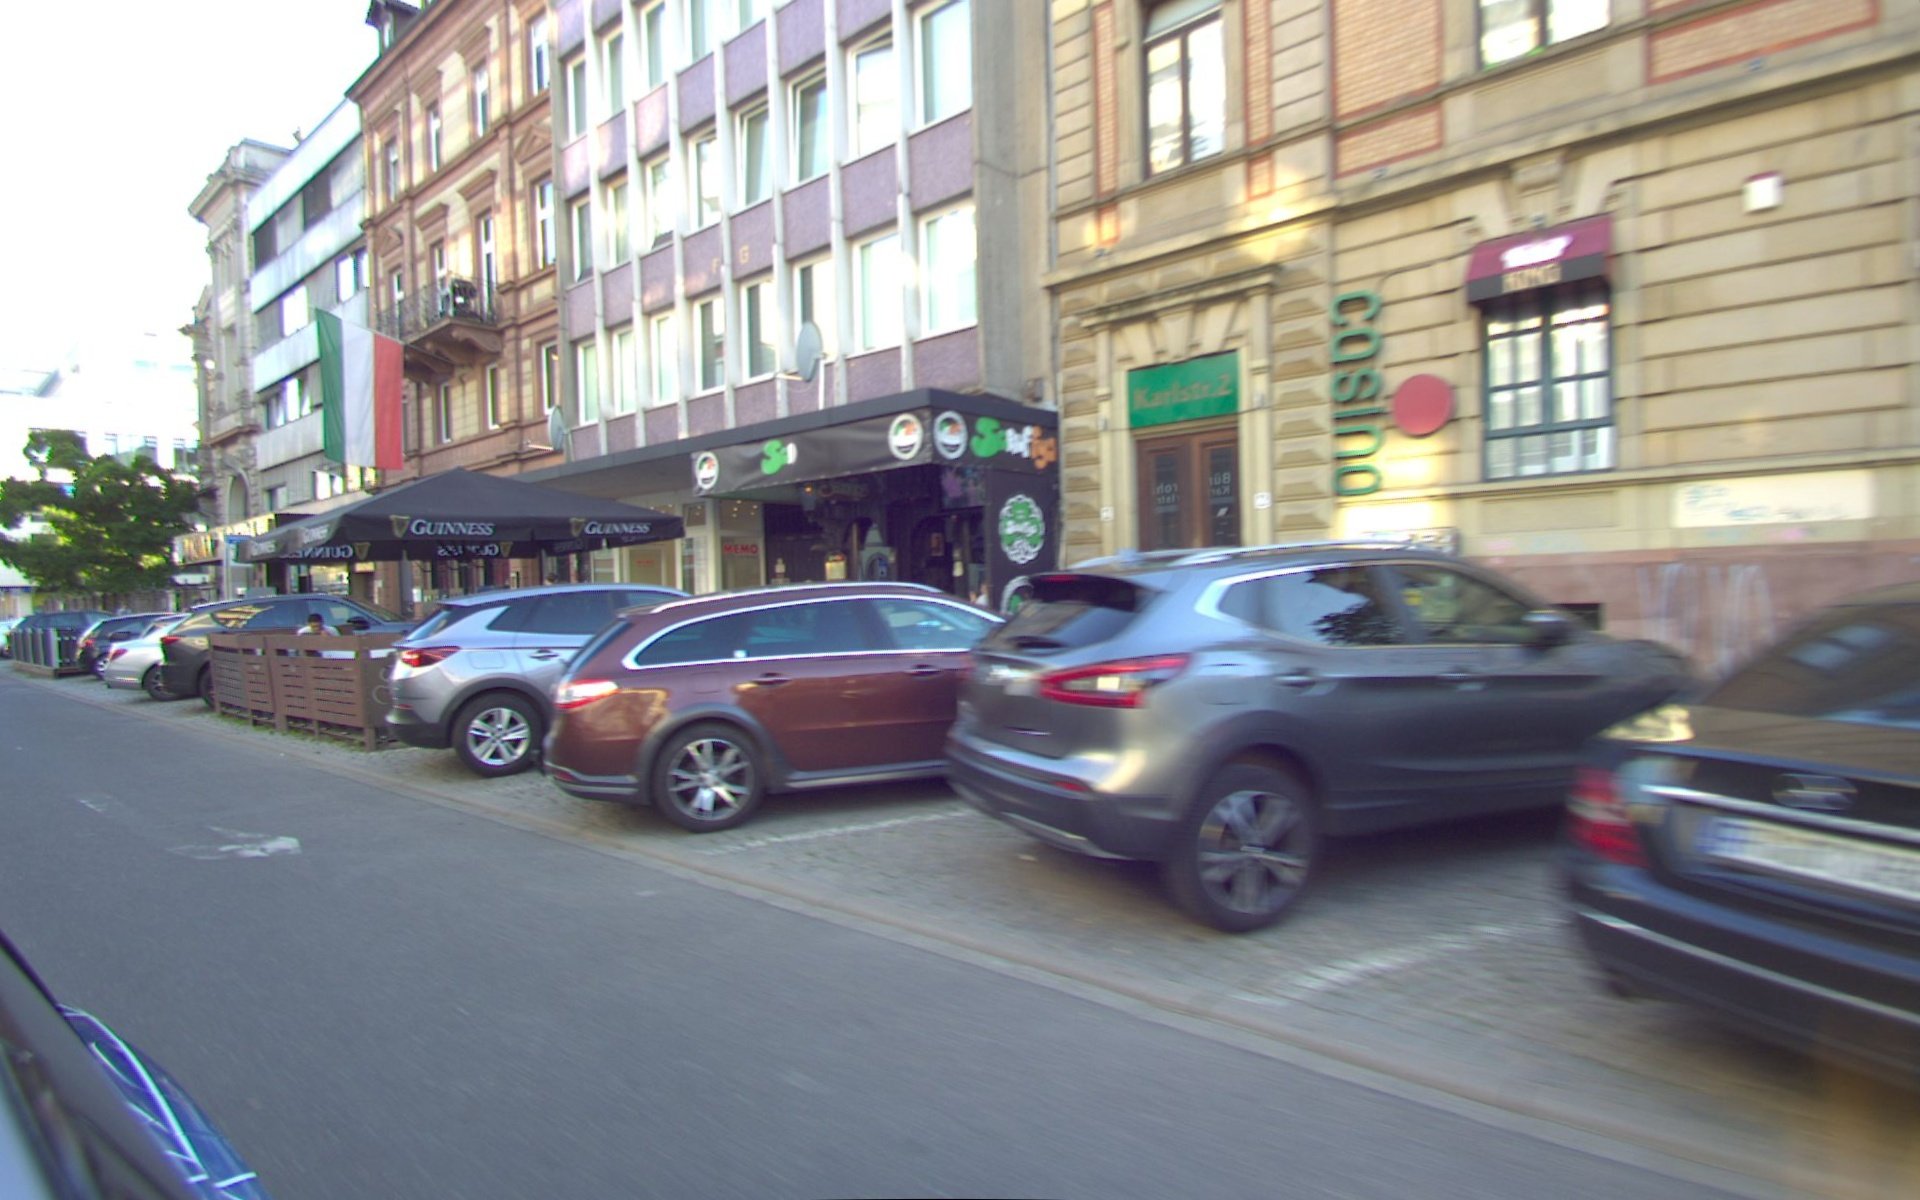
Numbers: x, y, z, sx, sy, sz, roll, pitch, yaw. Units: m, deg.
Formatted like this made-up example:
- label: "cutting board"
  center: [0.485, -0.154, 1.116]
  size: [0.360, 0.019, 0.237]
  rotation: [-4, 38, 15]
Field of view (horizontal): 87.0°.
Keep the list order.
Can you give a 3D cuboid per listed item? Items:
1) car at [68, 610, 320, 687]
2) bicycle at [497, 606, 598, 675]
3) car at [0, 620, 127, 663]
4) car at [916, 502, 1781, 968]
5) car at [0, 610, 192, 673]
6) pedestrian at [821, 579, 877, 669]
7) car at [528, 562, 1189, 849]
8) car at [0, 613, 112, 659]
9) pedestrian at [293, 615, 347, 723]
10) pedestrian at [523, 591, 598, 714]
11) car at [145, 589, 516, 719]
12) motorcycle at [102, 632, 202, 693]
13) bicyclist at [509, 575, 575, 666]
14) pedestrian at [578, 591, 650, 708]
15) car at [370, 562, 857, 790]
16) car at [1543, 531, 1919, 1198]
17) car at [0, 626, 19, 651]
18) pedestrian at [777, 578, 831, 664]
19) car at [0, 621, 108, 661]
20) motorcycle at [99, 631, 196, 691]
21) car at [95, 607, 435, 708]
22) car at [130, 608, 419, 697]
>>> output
- label: "car"
  center: [-18.900, 1.139, 25.121]
  size: [4.770, 1.579, 1.910]
  rotation: [-2, 0, -44]
- label: "bicycle"
  center: [-7.358, 0.701, 17.998]
  size: [2.177, 1.123, 0.757]
  rotation: [-1, 1, 41]
- label: "car"
  center: [-34.199, 1.551, 38.072]
  size: [4.356, 1.436, 1.911]
  rotation: [-2, 0, -40]
- label: "car"
  center: [1.974, 0.457, 5.226]
  size: [3.980, 1.669, 1.799]
  rotation: [-1, -1, -23]
- label: "car"
  center: [-28.341, 1.300, 33.283]
  size: [4.766, 1.787, 1.911]
  rotation: [-2, 0, -40]
- label: "pedestrian"
  center: [-1.661, 0.349, 15.214]
  size: [0.576, 1.318, 0.566]
  rotation: [-2, 0, 43]
- label: "car"
  center: [-0.699, 0.580, 7.255]
  size: [4.223, 1.560, 1.716]
  rotation: [-2, 0, -17]
- label: "car"
  center: [-43.319, 1.684, 48.286]
  size: [4.356, 1.977, 1.911]
  rotation: [-2, 0, -40]
- label: "pedestrian"
  center: [-8.838, 0.936, 13.971]
  size: [0.567, 1.427, 0.542]
  rotation: [-2, 0, -37]
- label: "pedestrian"
  center: [-4.845, 0.623, 12.274]
  size: [0.675, 1.427, 0.569]
  rotation: [-2, 0, 42]
- label: "car"
  center: [-9.815, 0.777, 16.286]
  size: [4.758, 1.746, 1.914]
  rotation: [-2, 0, -21]
- label: "motorcycle"
  center: [-16.719, 1.277, 20.985]
  size: [1.561, 1.133, 0.514]
  rotation: [-2, 1, -33]
- label: "bicyclist"
  center: [-7.460, 0.352, 18.068]
  size: [0.812, 1.571, 0.757]
  rotation: [-1, 1, 41]
- label: "pedestrian"
  center: [-4.375, 0.615, 12.807]
  size: [0.675, 1.427, 0.569]
  rotation: [-2, 0, 42]
- label: "car"
  center: [-3.226, 0.567, 9.662]
  size: [3.983, 1.641, 1.859]
  rotation: [-3, 1, -27]
- label: "car"
  center: [4.012, 0.533, 3.015]
  size: [4.178, 1.458, 1.716]
  rotation: [-1, -1, -23]
- label: "car"
  center: [-57.460, 2.285, 58.503]
  size: [4.356, 1.436, 1.911]
  rotation: [-2, 0, -40]
- label: "pedestrian"
  center: [-2.460, 0.325, 15.939]
  size: [0.576, 1.318, 0.566]
  rotation: [-2, 0, 43]
- label: "car"
  center: [-36.988, 1.655, 40.538]
  size: [4.356, 1.436, 1.911]
  rotation: [-2, 0, -40]
- label: "motorcycle"
  center: [-17.460, 1.298, 21.776]
  size: [1.561, 1.166, 0.459]
  rotation: [-2, 1, -33]
- label: "car"
  center: [-12.414, 0.975, 18.489]
  size: [4.759, 1.515, 1.914]
  rotation: [-2, 0, -19]
- label: "car"
  center: [-14.017, 1.021, 21.099]
  size: [4.758, 1.515, 1.914]
  rotation: [-2, 0, -27]
